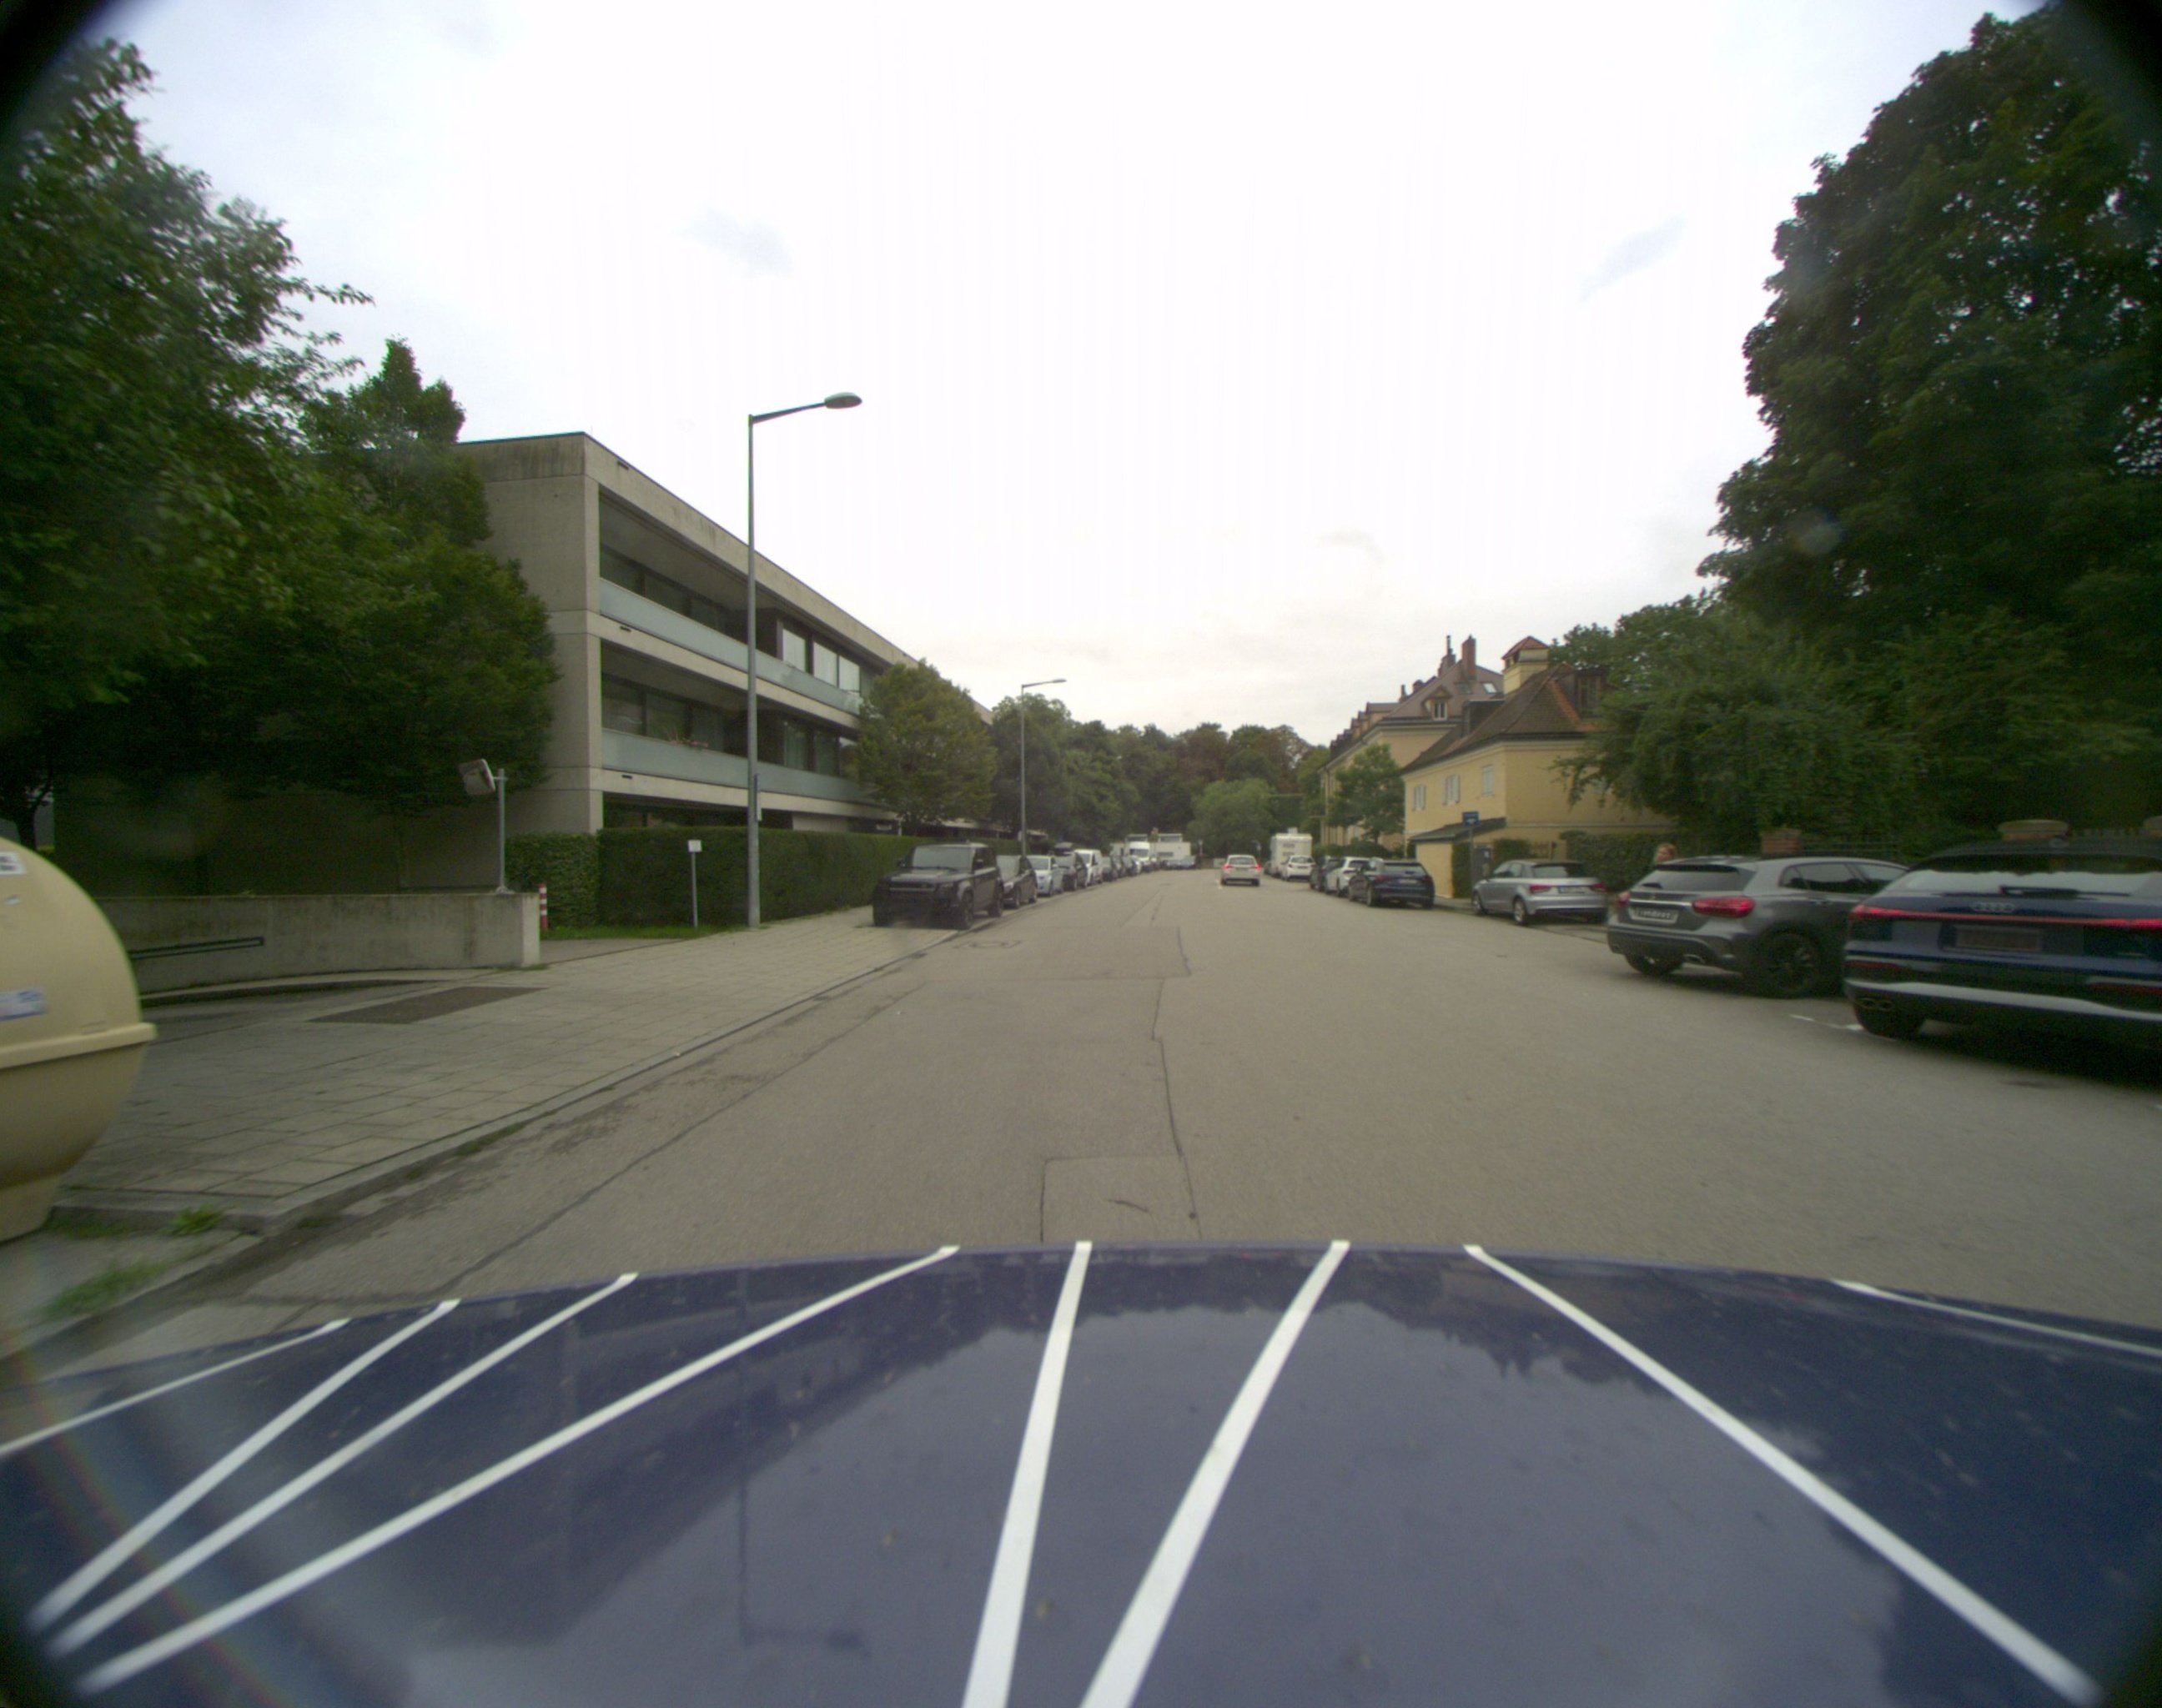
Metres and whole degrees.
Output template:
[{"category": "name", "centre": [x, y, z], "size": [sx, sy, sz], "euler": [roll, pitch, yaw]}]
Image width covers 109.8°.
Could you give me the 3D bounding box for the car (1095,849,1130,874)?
[{"category": "car", "centre": [2.105, 0.487, 49.359], "size": [1.730, 1.520, 4.207], "euler": [2, 0, 9]}]

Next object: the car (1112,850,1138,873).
[{"category": "car", "centre": [3.180, 0.510, 54.707], "size": [1.283, 1.497, 5.211], "euler": [2, 0, 9]}]

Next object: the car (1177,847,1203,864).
[{"category": "car", "centre": [11.950, 0.232, 82.938], "size": [1.996, 1.682, 4.342], "euler": [-2, -2, 19]}]

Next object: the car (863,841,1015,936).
[{"category": "car", "centre": [-3.064, 0.658, 17.678], "size": [1.992, 1.860, 5.079], "euler": [-1, 1, 7]}]

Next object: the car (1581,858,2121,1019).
[{"category": "car", "centre": [8.464, 0.843, 8.645], "size": [4.343, 1.521, 1.932], "euler": [0, 2, -4]}]

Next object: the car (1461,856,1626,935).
[{"category": "car", "centre": [10.604, 0.854, 17.798], "size": [1.743, 1.526, 4.151], "euler": [2, 1, 8]}]

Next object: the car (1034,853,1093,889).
[{"category": "car", "centre": [-0.686, 0.694, 33.217], "size": [1.751, 1.472, 4.601], "euler": [-1, 0, 9]}]

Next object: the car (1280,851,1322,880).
[{"category": "car", "centre": [12.663, 0.640, 43.941], "size": [1.781, 1.526, 4.231], "euler": [2, 1, 9]}]

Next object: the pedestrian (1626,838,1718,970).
[{"category": "pedestrian", "centre": [7.655, 0.624, 9.872], "size": [0.591, 1.638, 0.714], "euler": [1, 1, 3]}]

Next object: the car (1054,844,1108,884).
[{"category": "car", "centre": [0.085, 0.488, 38.314], "size": [1.825, 1.849, 4.902], "euler": [-1, 0, 11]}]

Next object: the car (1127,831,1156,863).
[{"category": "car", "centre": [5.404, -0.582, 67.432], "size": [2.083, 2.671, 6.092], "euler": [2, 0, 8]}]

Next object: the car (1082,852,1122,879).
[{"category": "car", "centre": [1.280, 0.627, 44.080], "size": [1.751, 1.455, 4.245], "euler": [0, 0, 9]}]

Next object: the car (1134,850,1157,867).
[{"category": "car", "centre": [6.249, 0.437, 73.617], "size": [1.874, 1.498, 4.841], "euler": [2, 0, 8]}]

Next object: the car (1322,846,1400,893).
[{"category": "car", "centre": [10.212, 0.527, 28.036], "size": [1.848, 1.526, 4.524], "euler": [2, 1, 10]}]

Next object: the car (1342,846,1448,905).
[{"category": "car", "centre": [9.397, 0.573, 23.162], "size": [1.848, 1.526, 4.564], "euler": [2, 1, 8]}]

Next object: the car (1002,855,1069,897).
[{"category": "car", "centre": [-1.627, 0.784, 28.692], "size": [1.751, 1.472, 3.890], "euler": [0, 0, 9]}]

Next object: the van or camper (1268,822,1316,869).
[{"category": "van or camper", "centre": [14.274, -0.530, 51.806], "size": [2.459, 2.924, 7.217], "euler": [2, 1, 11]}]

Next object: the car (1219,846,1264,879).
[{"category": "car", "centre": [7.697, 0.371, 36.764], "size": [1.775, 1.466, 4.136], "euler": [0, 1, 7]}]

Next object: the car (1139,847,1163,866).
[{"category": "car", "centre": [7.311, 0.267, 78.749], "size": [1.938, 1.894, 5.076], "euler": [2, 0, 10]}]

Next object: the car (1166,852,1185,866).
[{"category": "car", "centre": [11.098, 0.622, 89.440], "size": [1.896, 1.438, 4.271], "euler": [-2, -1, 3]}]

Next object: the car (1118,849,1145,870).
[{"category": "car", "centre": [4.104, 0.415, 60.851], "size": [1.874, 1.560, 5.004], "euler": [2, 0, 6]}]

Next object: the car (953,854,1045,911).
[{"category": "car", "centre": [-2.348, 0.769, 23.007], "size": [1.751, 1.530, 4.572], "euler": [0, 0, 7]}]

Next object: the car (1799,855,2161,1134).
[{"category": "car", "centre": [8.046, 0.846, 5.910], "size": [4.533, 1.584, 1.961], "euler": [1, 1, -24]}]

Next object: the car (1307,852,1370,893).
[{"category": "car", "centre": [11.014, 0.718, 32.796], "size": [1.848, 1.526, 4.444], "euler": [2, 1, 10]}]
